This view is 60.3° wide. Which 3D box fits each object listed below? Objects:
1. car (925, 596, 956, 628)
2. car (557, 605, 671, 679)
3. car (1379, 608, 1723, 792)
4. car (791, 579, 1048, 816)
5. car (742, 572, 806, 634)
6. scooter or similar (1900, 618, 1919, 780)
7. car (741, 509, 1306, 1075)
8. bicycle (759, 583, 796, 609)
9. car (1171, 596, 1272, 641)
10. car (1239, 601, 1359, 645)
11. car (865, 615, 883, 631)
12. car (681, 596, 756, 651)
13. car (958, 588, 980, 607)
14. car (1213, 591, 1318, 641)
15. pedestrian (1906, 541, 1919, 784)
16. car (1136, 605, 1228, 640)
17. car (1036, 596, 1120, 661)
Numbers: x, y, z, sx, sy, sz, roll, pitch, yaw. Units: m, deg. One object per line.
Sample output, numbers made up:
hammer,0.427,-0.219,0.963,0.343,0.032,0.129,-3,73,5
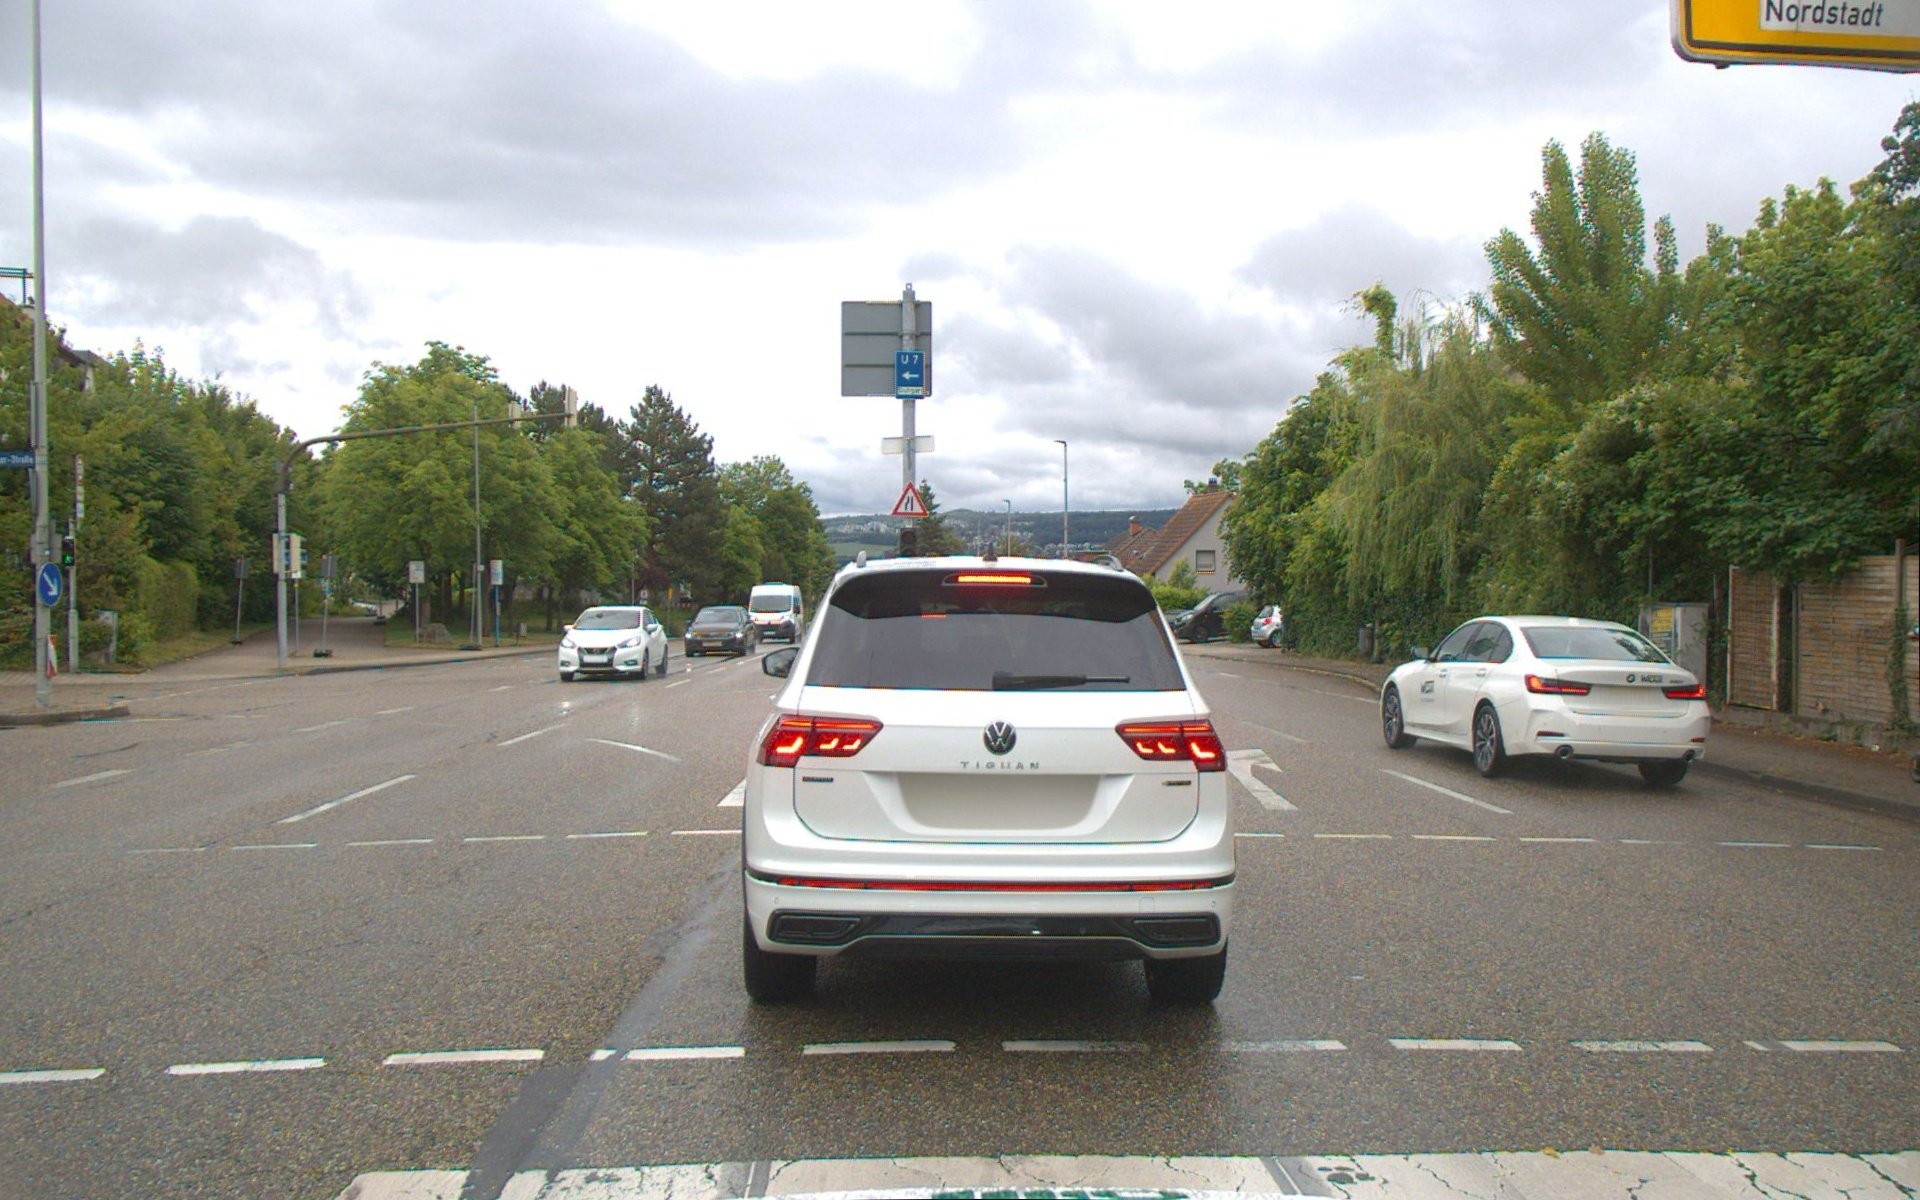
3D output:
car,-1.153,0.686,96.157,1.677,1.789,3.800,0,0,-2
car,-7.077,0.820,34.173,1.711,1.421,3.800,0,0,-3
car,5.510,0.852,16.025,1.631,1.452,4.303,2,0,-2
car,-0.311,0.674,13.399,1.762,1.617,3.925,1,0,-1
car,-8.016,0.119,71.789,2.251,2.572,5.771,-1,0,-2
scooter or similar,8.447,0.846,13.709,0.452,1.385,1.383,0,0,-4
car,0.146,0.604,7.345,1.727,1.725,4.271,2,0,-2
bicycle,-8.255,-0.176,74.906,1.603,1.145,0.468,-2,1,-3
car,10.149,0.702,64.385,3.556,1.654,1.790,1,1,-5
car,11.577,0.794,56.570,3.644,1.420,1.725,0,-1,-8
car,-10.319,2.783,199.002,1.953,1.758,3.999,2,0,-1
car,-7.326,0.686,50.529,1.740,1.528,4.470,-2,0,-2
car,0.767,-0.201,145.642,1.813,1.602,3.999,-1,0,-1
car,11.433,0.578,62.077,3.556,1.777,1.707,0,2,-5
pedestrian,8.382,0.521,13.711,0.642,2.037,0.717,0,0,-4
car,9.254,0.965,69.132,3.613,1.394,1.518,1,-2,-3
car,3.076,0.717,43.677,1.701,1.602,4.066,1,0,-3
